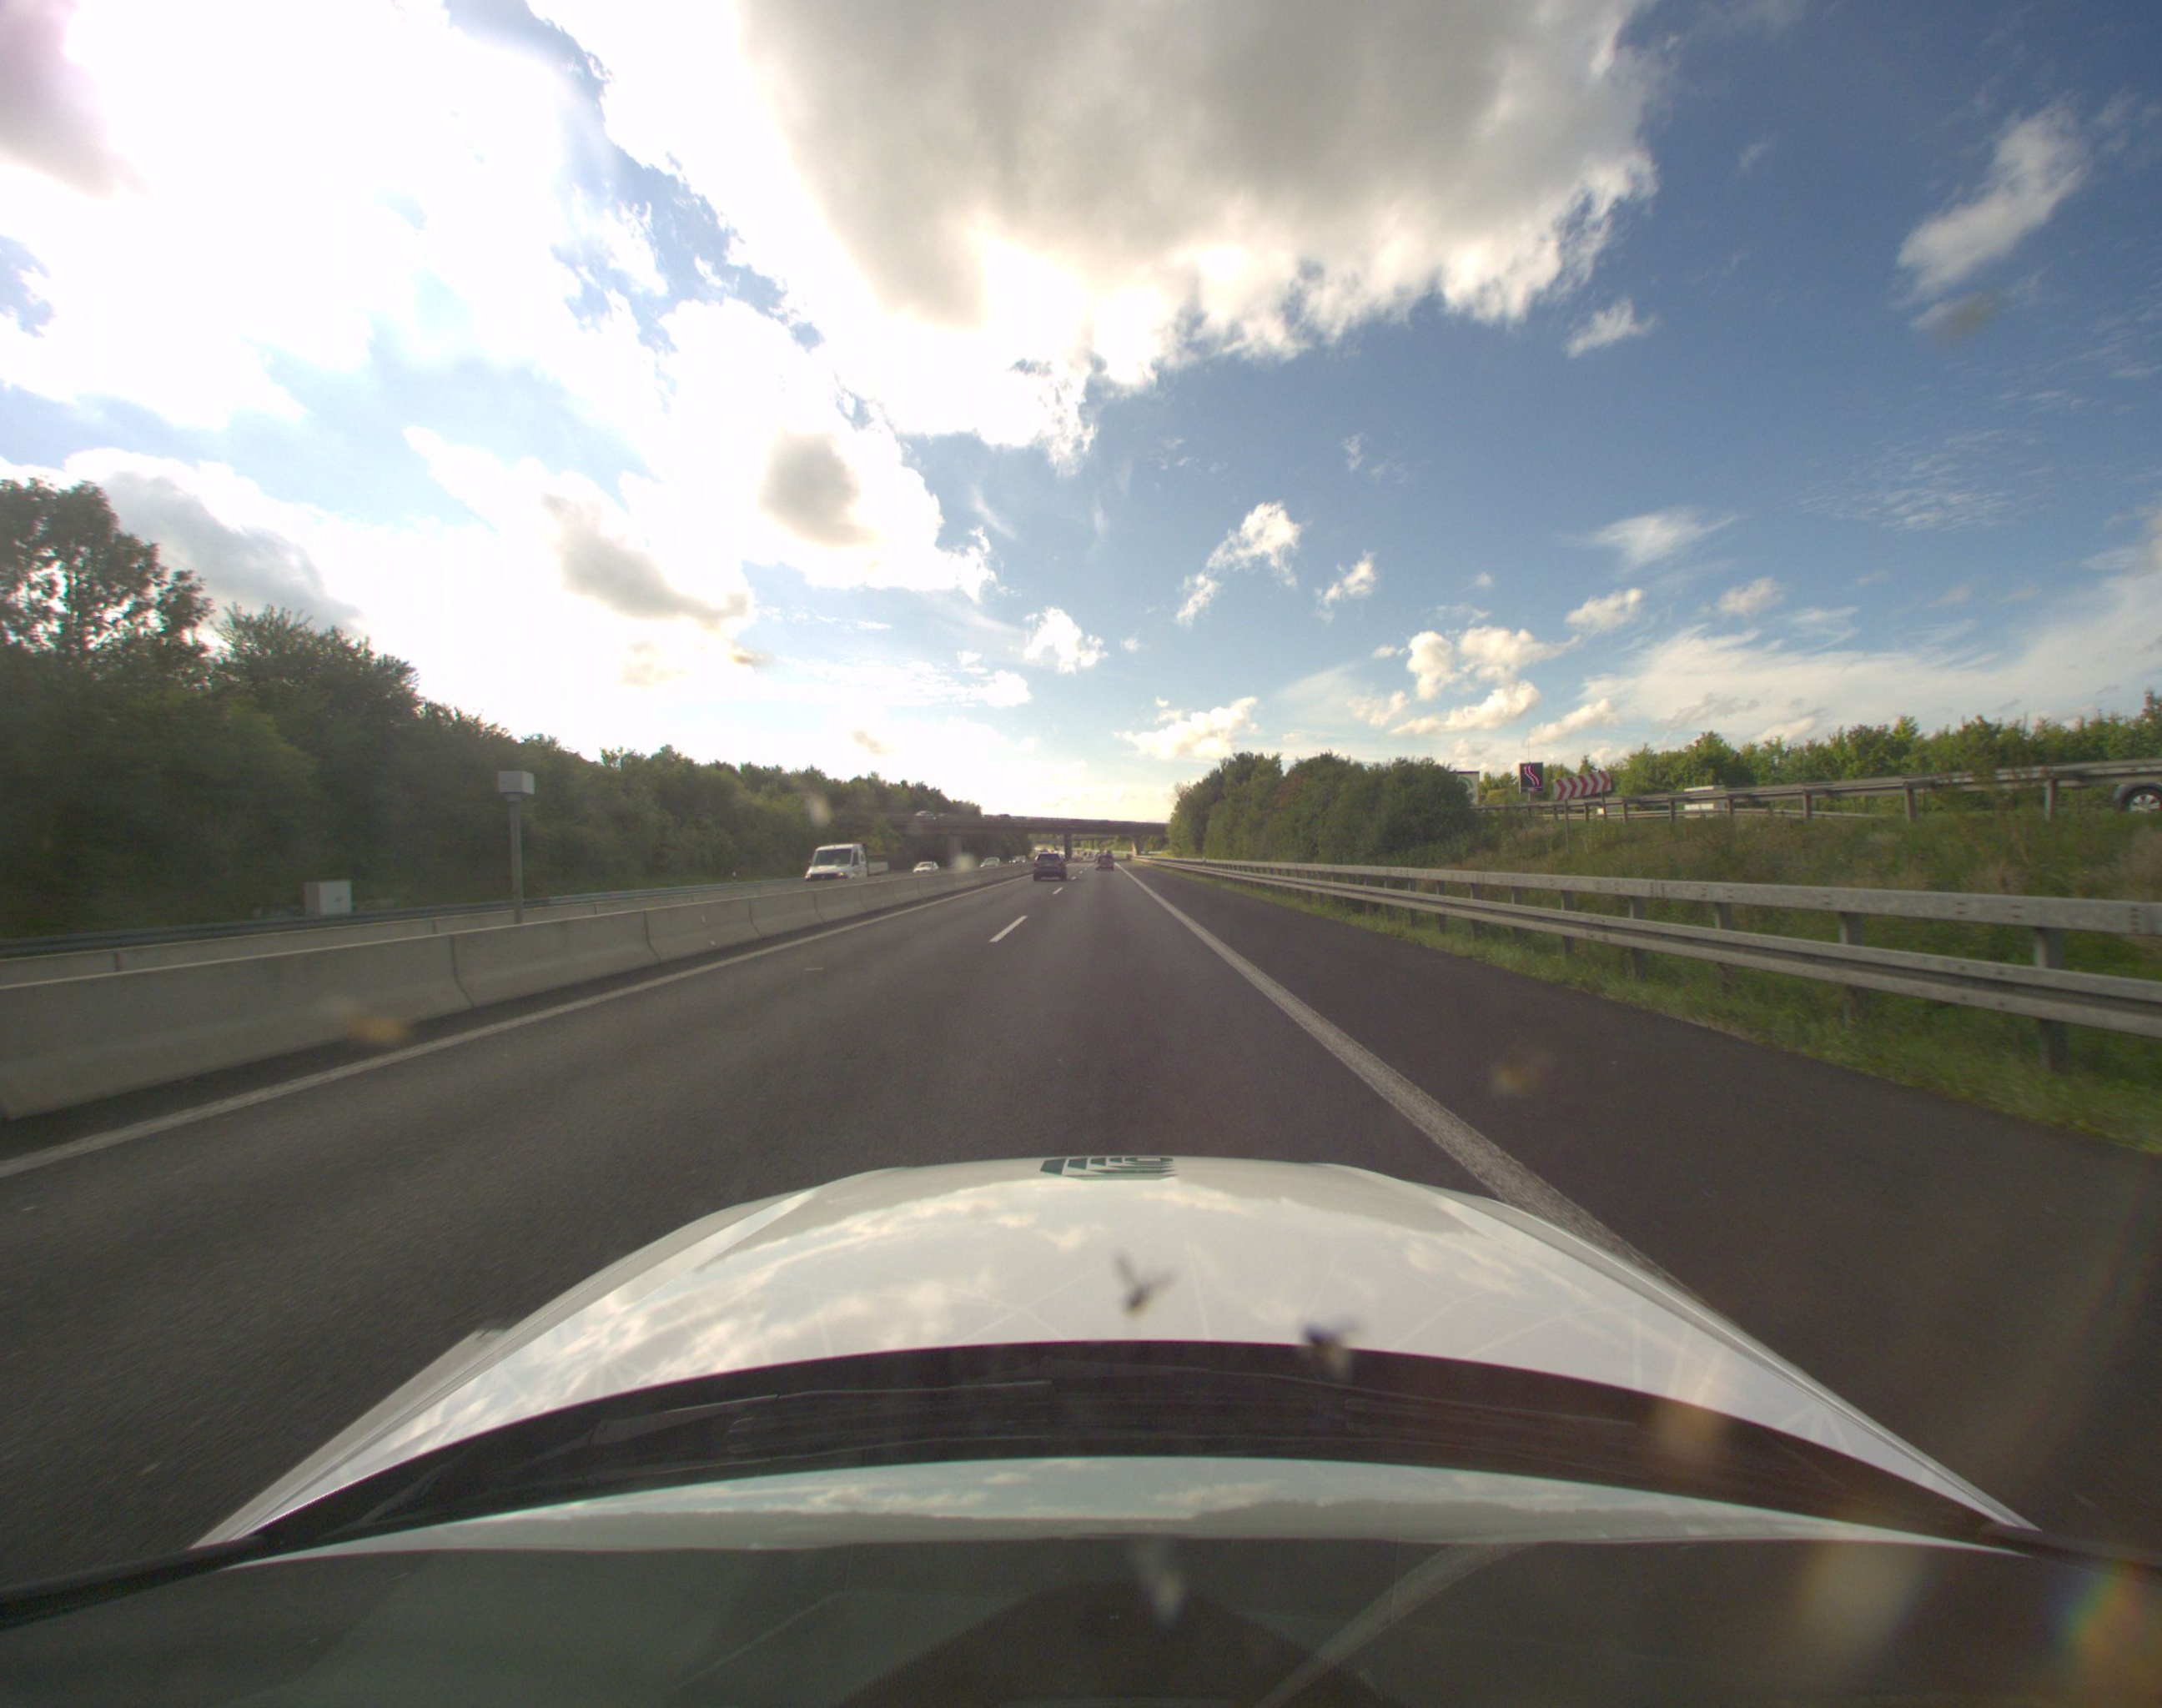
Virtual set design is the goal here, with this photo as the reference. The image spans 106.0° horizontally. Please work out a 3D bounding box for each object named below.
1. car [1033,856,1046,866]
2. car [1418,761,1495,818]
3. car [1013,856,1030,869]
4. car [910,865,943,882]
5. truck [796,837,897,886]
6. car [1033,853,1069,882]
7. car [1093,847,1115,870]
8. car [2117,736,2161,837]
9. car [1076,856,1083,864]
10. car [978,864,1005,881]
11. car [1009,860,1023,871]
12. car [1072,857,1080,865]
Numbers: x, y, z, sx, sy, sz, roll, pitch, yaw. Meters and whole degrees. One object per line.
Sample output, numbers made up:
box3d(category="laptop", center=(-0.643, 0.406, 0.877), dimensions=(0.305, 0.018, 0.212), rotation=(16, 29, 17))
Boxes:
box3d(category="car", center=(-7.917, 1.336, 155.596), dimensions=(1.986, 1.896, 5.190), rotation=(-3, 0, 1))
box3d(category="car", center=(28.963, -4.838, 63.242), dimensions=(3.554, 3.676, 7.571), rotation=(-3, 0, 11))
box3d(category="car", center=(-8.765, 1.239, 120.153), dimensions=(1.986, 1.896, 5.142), rotation=(-3, 0, 1))
box3d(category="car", center=(-14.209, 1.785, 75.182), dimensions=(1.986, 1.436, 4.726), rotation=(-3, 0, 1))
box3d(category="truck", center=(-10.921, 0.328, 38.707), dimensions=(2.367, 2.013, 7.439), rotation=(-3, 0, 2))
box3d(category="car", center=(-1.792, 0.781, 49.324), dimensions=(1.742, 1.630, 3.612), rotation=(-3, 0, 3))
box3d(category="car", center=(2.221, 0.413, 78.790), dimensions=(1.986, 2.080, 4.002), rotation=(-3, 0, 2))
box3d(category="car", center=(19.475, -1.219, 12.527), dimensions=(1.986, 1.717, 4.002), rotation=(-3, 0, 2))
box3d(category="car", center=(-0.452, 1.718, 235.522), dimensions=(1.986, 2.013, 4.001), rotation=(-3, 0, 1))
box3d(category="car", center=(-9.424, 1.911, 86.153), dimensions=(1.986, 1.648, 5.197), rotation=(-3, 0, 1))
box3d(category="car", center=(-12.301, 2.139, 153.537), dimensions=(1.986, 1.896, 4.824), rotation=(-3, 0, 1))
box3d(category="car", center=(-1.276, 1.953, 215.017), dimensions=(1.986, 2.013, 4.001), rotation=(-3, 0, 1))
